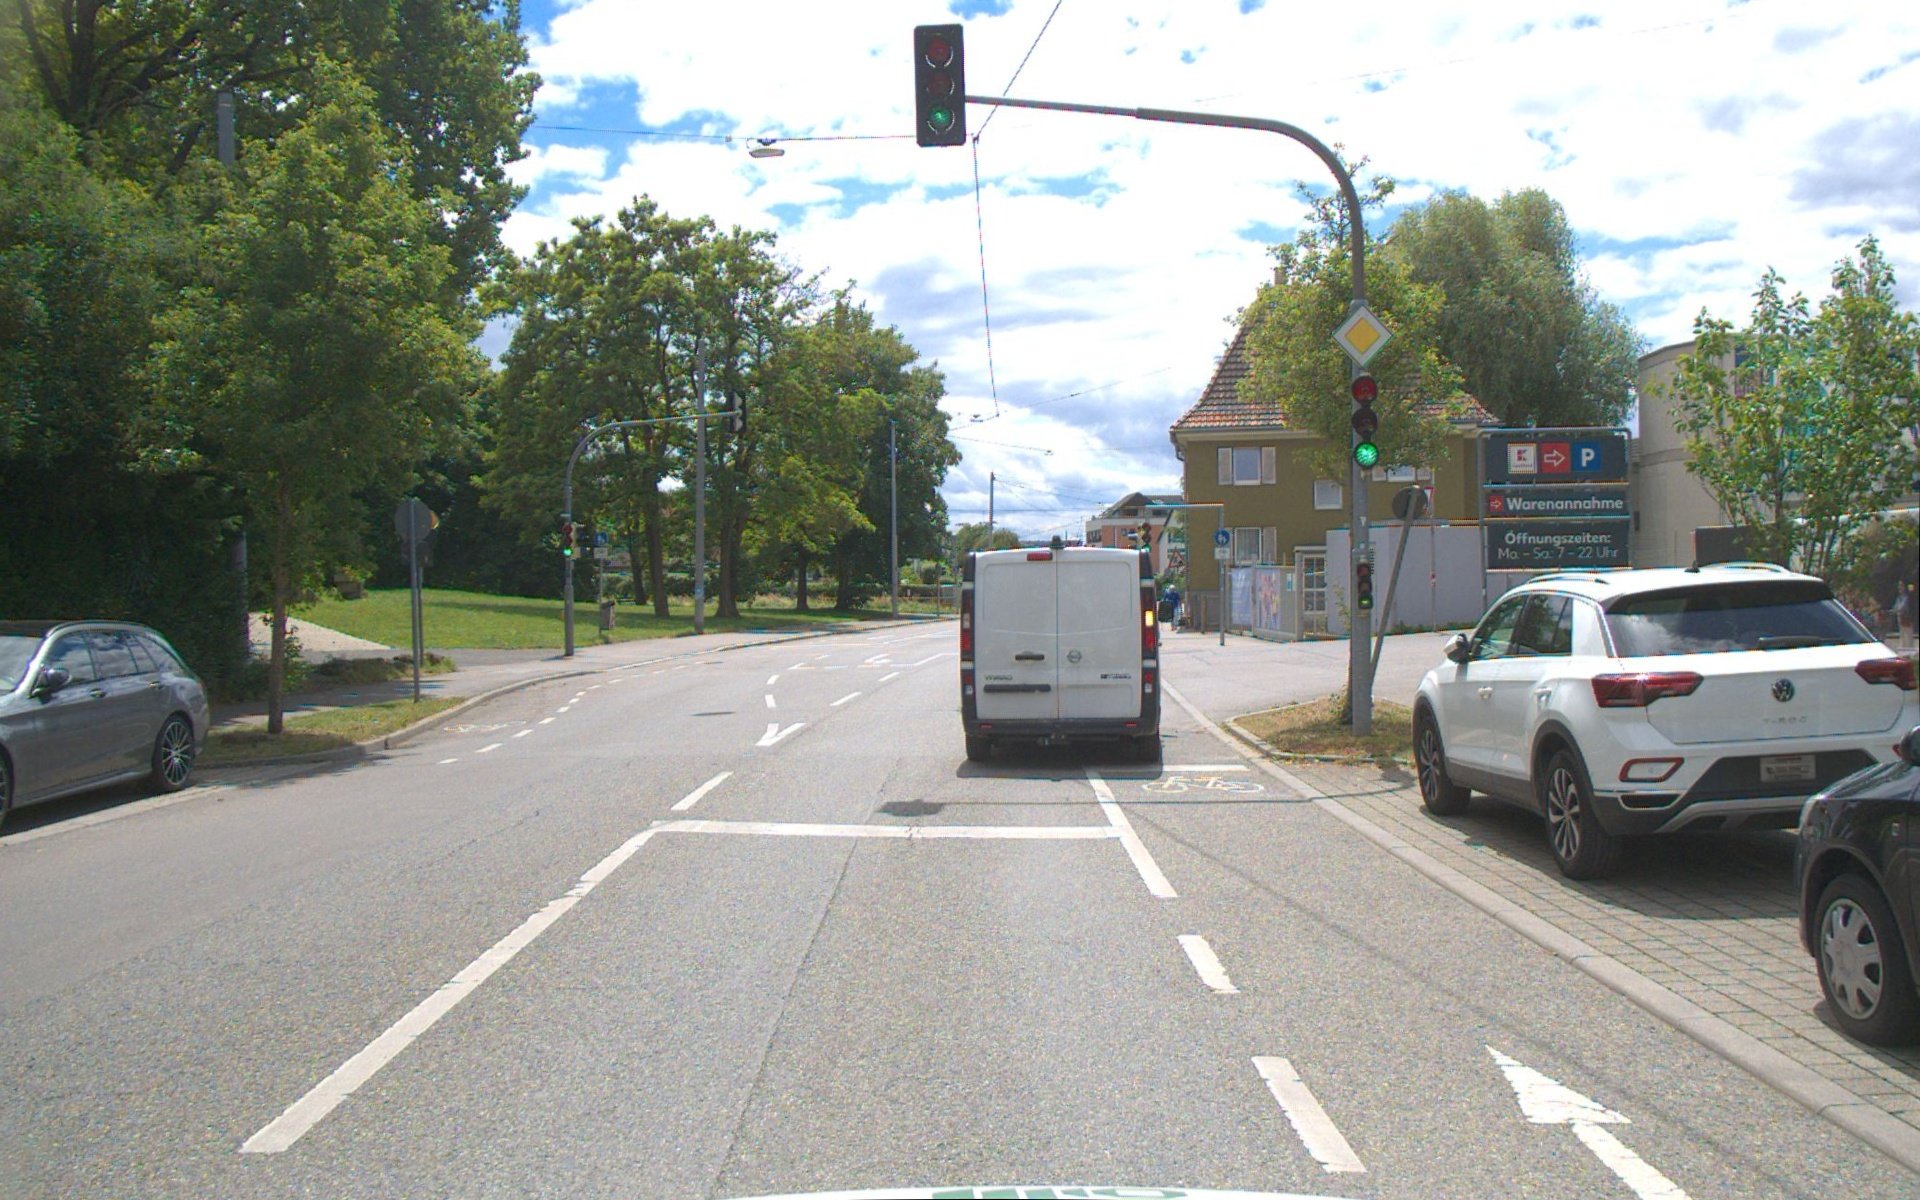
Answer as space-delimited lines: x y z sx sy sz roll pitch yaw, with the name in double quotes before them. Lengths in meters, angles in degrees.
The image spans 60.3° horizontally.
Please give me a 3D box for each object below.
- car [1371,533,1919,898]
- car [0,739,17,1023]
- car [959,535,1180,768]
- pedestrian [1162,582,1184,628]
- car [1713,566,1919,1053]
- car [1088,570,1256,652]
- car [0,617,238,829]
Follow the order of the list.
"car" 3.972 0.543 10.099 1.702 1.644 4.386 -4 0 -1
"car" -4.309 0.739 3.851 1.796 1.644 4.151 -4 0 -1
"car" 1.218 0.437 16.820 1.897 1.995 4.836 1 0 6
"pedestrian" 7.545 0.197 58.585 0.664 1.580 0.835 -3 -2 3
"car" 3.750 0.629 4.471 1.536 1.519 4.000 -2 0 0
"car" 4.889 0.281 38.599 1.590 1.634 3.952 -5 0 -34
"car" -7.382 0.854 12.748 1.660 1.389 4.685 0 0 -1
